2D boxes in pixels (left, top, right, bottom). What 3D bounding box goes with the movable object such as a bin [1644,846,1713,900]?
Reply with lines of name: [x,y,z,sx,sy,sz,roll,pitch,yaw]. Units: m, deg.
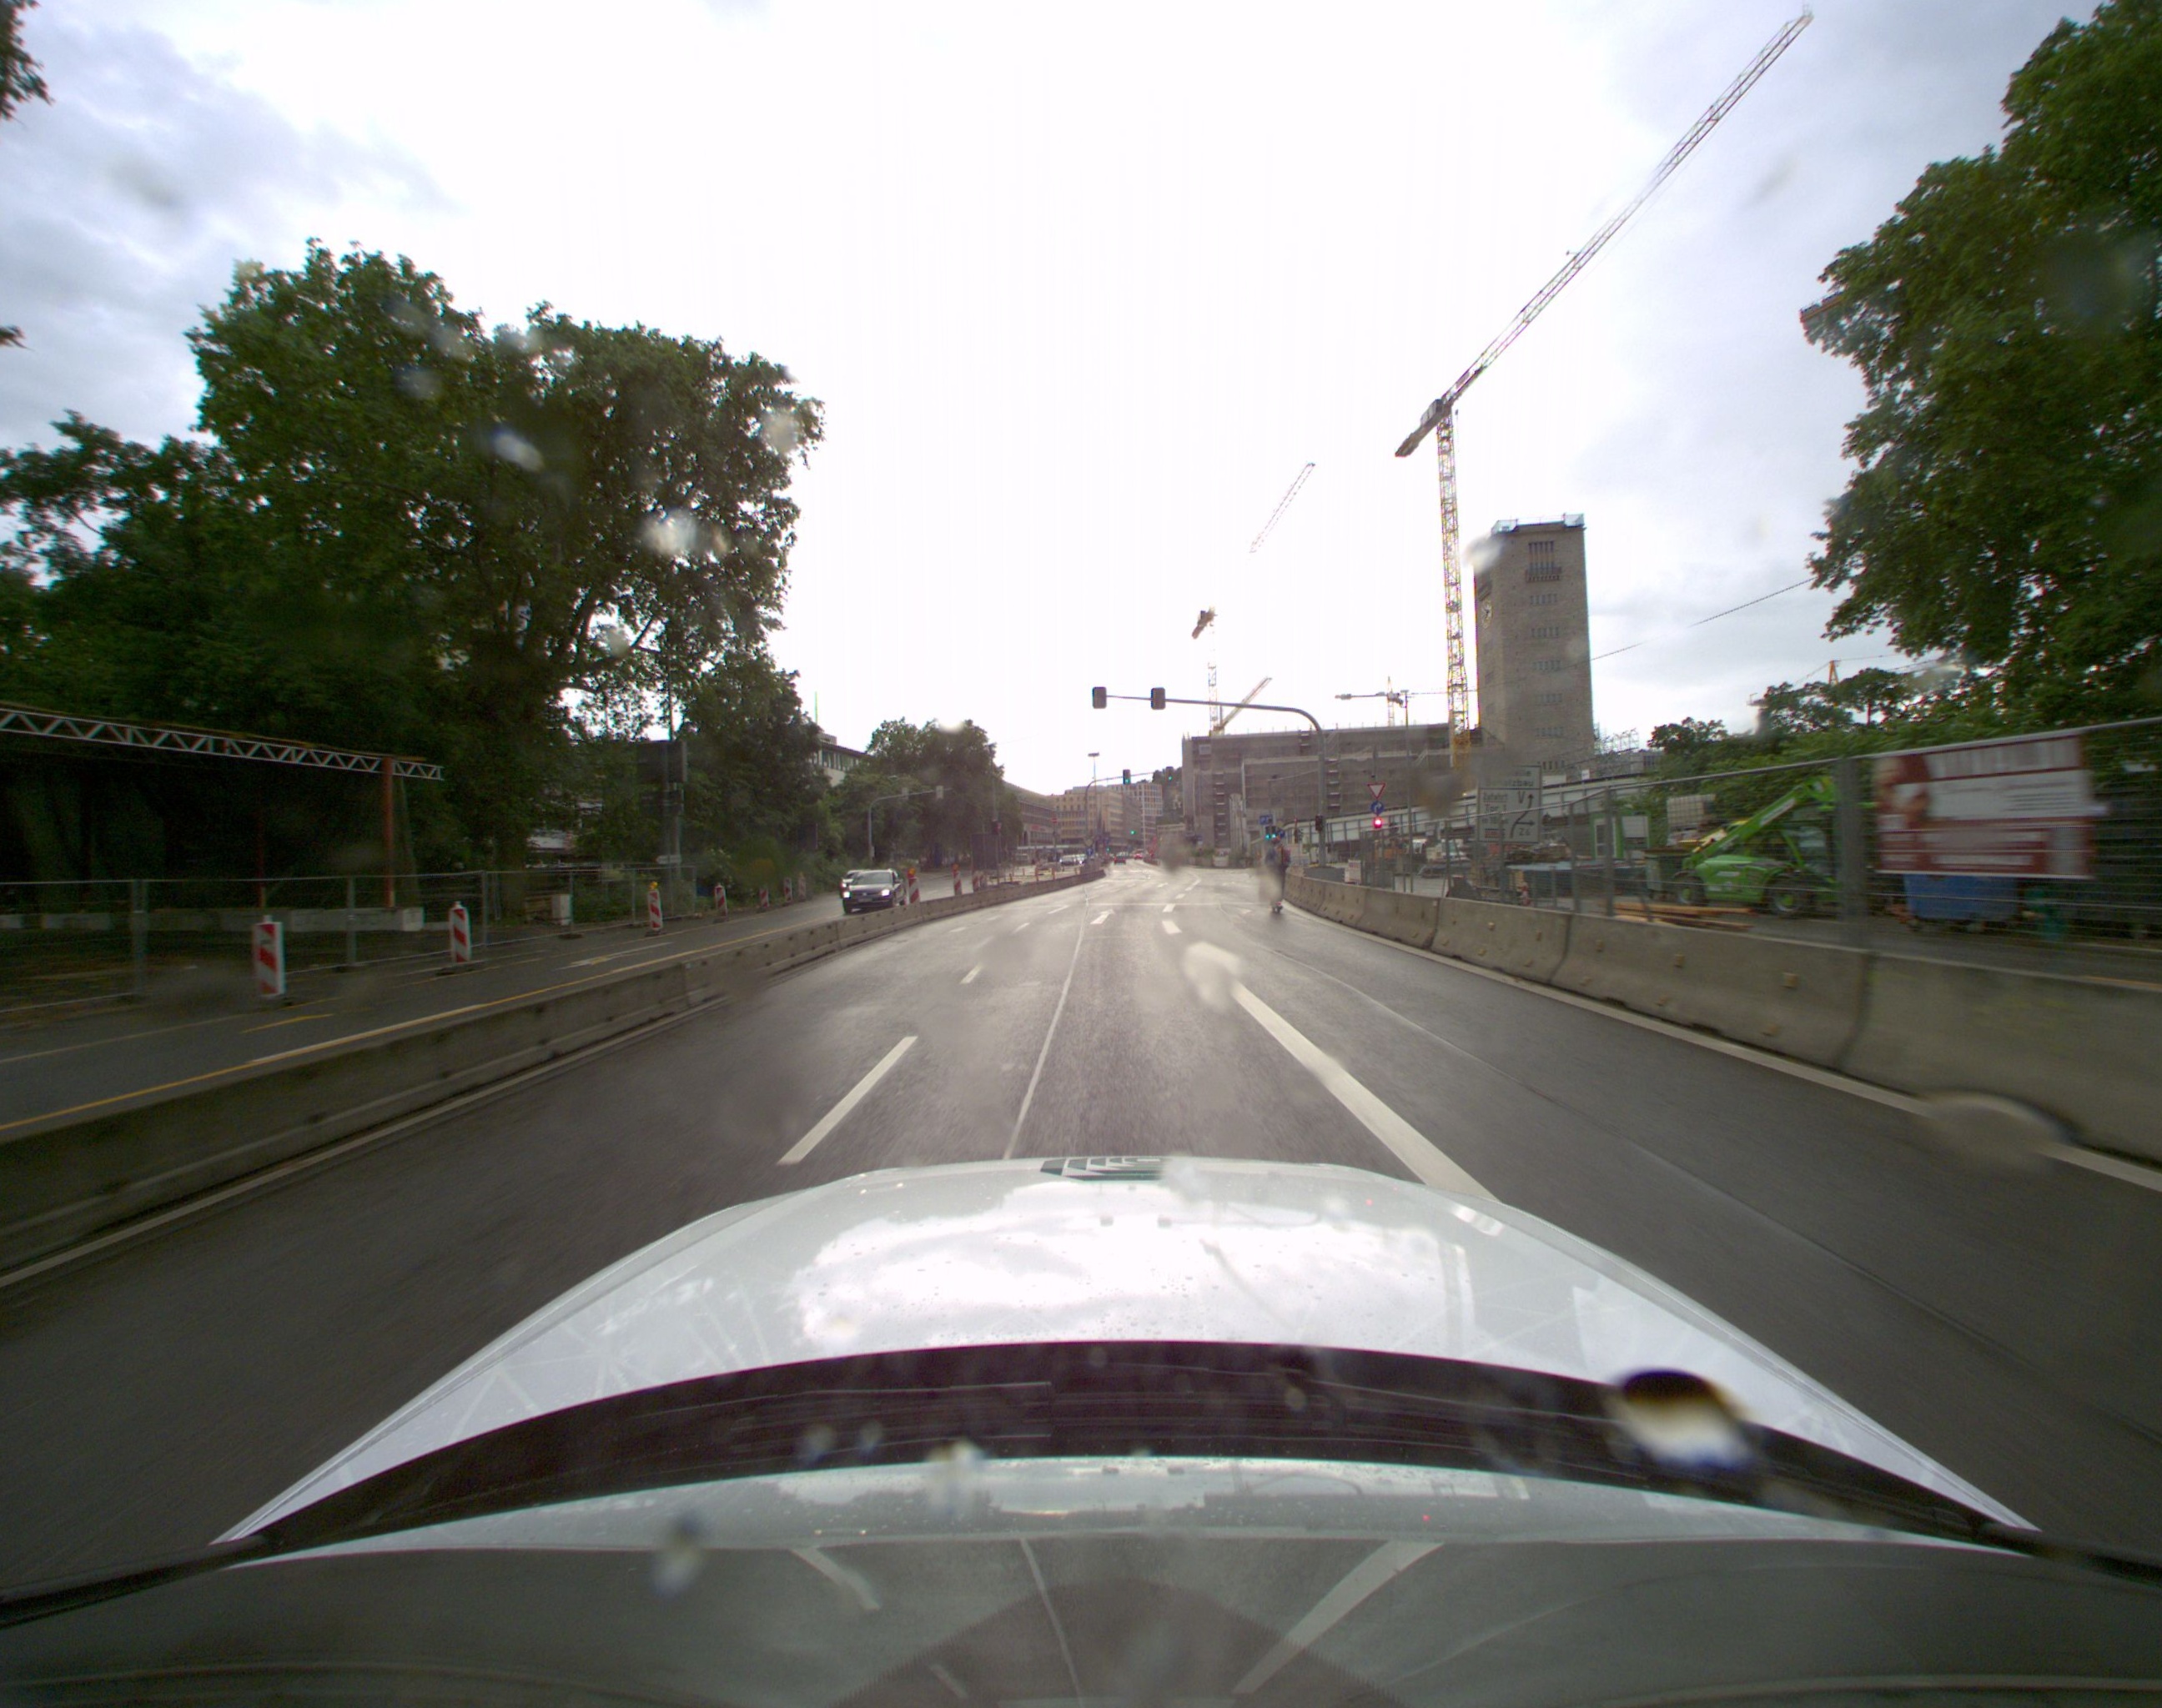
movable object such as a bin: [15.526,0.487,21.207,1.166,1.344,1.272,-1,1,22]

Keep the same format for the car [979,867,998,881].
car: [-10.543,2.289,92.805,1.762,1.463,4.172,-5,-1,-4]

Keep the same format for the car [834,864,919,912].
car: [-7.466,1.276,30.201,1.988,1.541,4.576,-4,-3,-2]

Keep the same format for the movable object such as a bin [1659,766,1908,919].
movable object such as a bin: [14.482,-0.255,17.114,1.802,2.809,3.863,-2,1,-2]

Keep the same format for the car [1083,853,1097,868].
car: [1.394,1.056,124.949,1.896,2.083,4.176,-4,-3,0]

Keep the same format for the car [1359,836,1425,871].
car: [19.167,-0.019,50.468,1.907,1.975,5.158,-2,0,-2]

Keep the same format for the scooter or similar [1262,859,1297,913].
scooter or similar: [5.095,0.797,20.966,0.594,1.319,1.670,-2,-1,5]

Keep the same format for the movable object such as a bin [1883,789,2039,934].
movable object such as a bin: [14.251,0.088,13.221,1.462,2.203,1.256,-2,1,-21]

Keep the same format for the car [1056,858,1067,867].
car: [-3.716,1.642,153.395,1.896,1.528,4.176,-4,-3,0]

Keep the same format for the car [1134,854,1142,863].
car: [14.117,1.207,201.812,1.984,2.014,4.004,-4,-3,4]

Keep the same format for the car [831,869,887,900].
car: [-12.521,1.750,46.189,1.988,1.541,4.441,-4,-3,-2]

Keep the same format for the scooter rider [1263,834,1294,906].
scooter rider: [5.079,0.405,20.953,0.594,1.786,0.999,-2,-1,5]

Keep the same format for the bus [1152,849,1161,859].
bus: [20.162,-0.026,217.246,1.982,2.432,4.009,-4,-3,8]

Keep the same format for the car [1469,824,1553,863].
car: [27.823,-0.625,52.943,2.041,2.313,5.597,-3,-1,-4]

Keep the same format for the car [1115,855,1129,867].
car: [6.241,1.105,124.672,1.896,1.528,4.176,-4,-3,0]

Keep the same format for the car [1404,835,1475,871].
car: [19.465,-0.116,44.493,1.839,1.806,5.090,-2,1,2]

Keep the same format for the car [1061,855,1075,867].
car: [-2.017,1.030,124.513,1.896,1.528,4.176,-4,-3,0]
